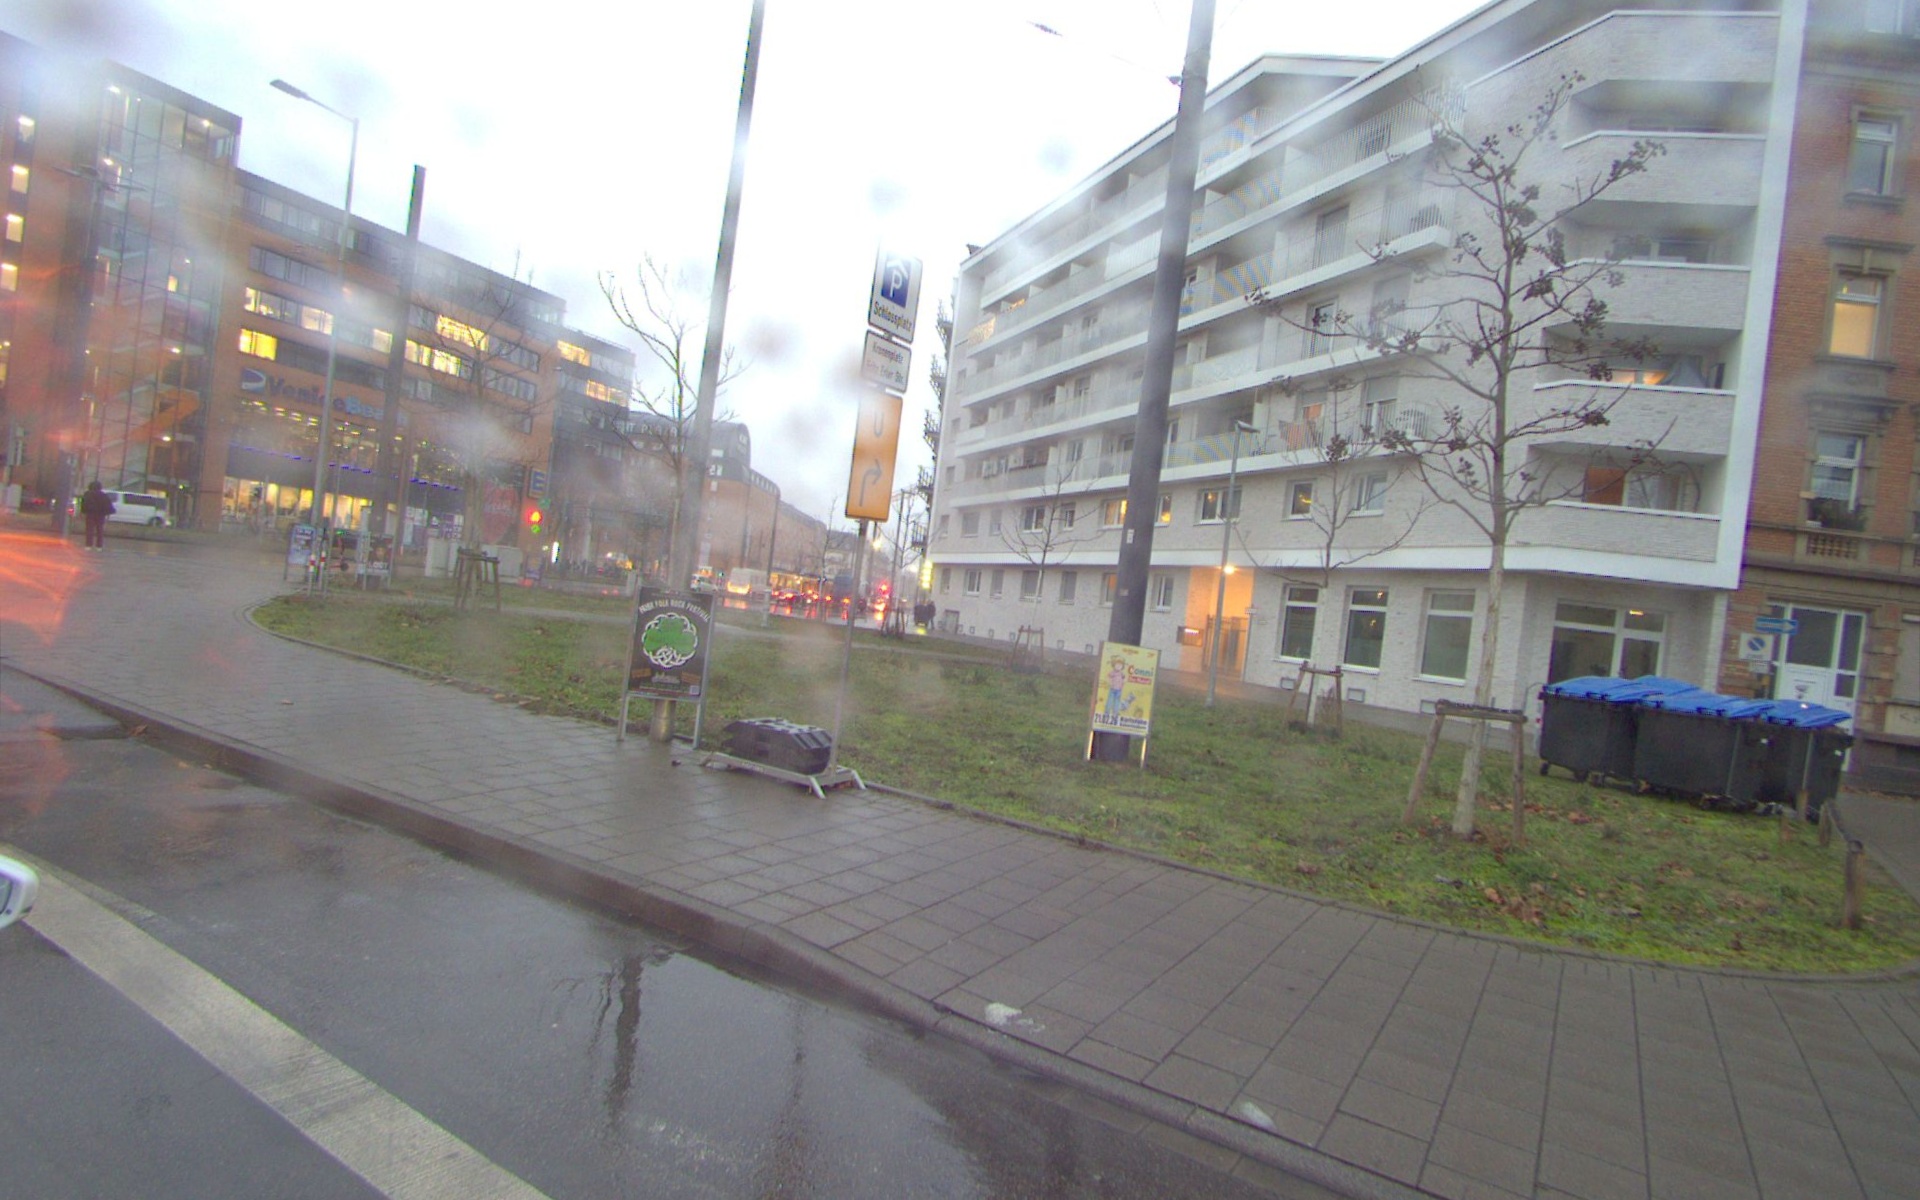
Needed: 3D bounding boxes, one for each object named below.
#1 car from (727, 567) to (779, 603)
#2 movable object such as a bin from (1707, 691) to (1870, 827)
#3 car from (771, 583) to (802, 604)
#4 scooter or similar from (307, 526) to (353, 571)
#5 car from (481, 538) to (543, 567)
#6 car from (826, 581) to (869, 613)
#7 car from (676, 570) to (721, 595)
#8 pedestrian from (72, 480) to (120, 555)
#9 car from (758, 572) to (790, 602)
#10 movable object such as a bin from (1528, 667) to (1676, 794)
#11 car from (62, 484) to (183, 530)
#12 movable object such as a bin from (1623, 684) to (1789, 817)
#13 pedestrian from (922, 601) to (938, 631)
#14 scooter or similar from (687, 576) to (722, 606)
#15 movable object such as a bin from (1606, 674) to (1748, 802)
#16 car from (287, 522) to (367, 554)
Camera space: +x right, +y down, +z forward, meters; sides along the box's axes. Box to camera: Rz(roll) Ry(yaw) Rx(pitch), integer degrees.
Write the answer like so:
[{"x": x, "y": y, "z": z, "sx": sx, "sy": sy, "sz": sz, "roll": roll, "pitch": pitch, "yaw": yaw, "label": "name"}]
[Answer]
[{"x": -17.384, "y": -1.201, "z": 84.682, "sx": 1.962, "sy": 2.456, "sz": 5.978, "roll": 7, "pitch": -1, "yaw": 10, "label": "car"}, {"x": 10.731, "y": 2.047, "z": 13.063, "sx": 1.038, "sy": 1.503, "sz": 1.135, "roll": 7, "pitch": 0, "yaw": -19, "label": "movable object such as a bin"}, {"x": -15.766, "y": -0.609, "z": 91.334, "sx": 1.494, "sy": 1.538, "sz": 3.474, "roll": 7, "pitch": -1, "yaw": 11, "label": "car"}, {"x": -18.677, "y": -1.513, "z": 29.836, "sx": 0.327, "sy": 1.221, "sz": 1.309, "roll": 7, "pitch": 0, "yaw": 4, "label": "scooter or similar"}, {"x": -36.369, "y": -3.861, "z": 81.769, "sx": 1.893, "sy": 1.740, "sz": 4.612, "roll": 7, "pitch": -1, "yaw": 17, "label": "car"}, {"x": -11.998, "y": -0.252, "z": 107.798, "sx": 2.317, "sy": 2.860, "sz": 6.364, "roll": 7, "pitch": -1, "yaw": 12, "label": "car"}, {"x": -19.813, "y": -1.333, "z": 76.331, "sx": 1.613, "sy": 1.514, "sz": 3.686, "roll": 7, "pitch": 0, "yaw": 14, "label": "car"}, {"x": -23.306, "y": -2.224, "z": 27.143, "sx": 0.768, "sy": 1.901, "sz": 0.629, "roll": 6, "pitch": 1, "yaw": -36, "label": "pedestrian"}, {"x": -19.879, "y": -1.341, "z": 107.747, "sx": 2.321, "sy": 2.861, "sz": 6.355, "roll": 7, "pitch": -1, "yaw": -5, "label": "car"}, {"x": 9.032, "y": 1.813, "z": 14.195, "sx": 1.038, "sy": 1.529, "sz": 1.247, "roll": 7, "pitch": 0, "yaw": -19, "label": "movable object such as a bin"}, {"x": -45.330, "y": -4.989, "z": 54.577, "sx": 1.754, "sy": 1.698, "sz": 4.651, "roll": 7, "pitch": -1, "yaw": 22, "label": "car"}, {"x": 9.602, "y": 1.919, "z": 12.989, "sx": 1.038, "sy": 1.450, "sz": 1.220, "roll": 7, "pitch": 0, "yaw": -19, "label": "movable object such as a bin"}, {"x": -1.709, "y": 0.921, "z": 57.389, "sx": 0.620, "sy": 1.652, "sz": 0.722, "roll": 7, "pitch": 1, "yaw": 6, "label": "pedestrian"}, {"x": -12.358, "y": -0.444, "z": 48.728, "sx": 0.658, "sy": 1.241, "sz": 1.556, "roll": 7, "pitch": -2, "yaw": 26, "label": "scooter or similar"}, {"x": 10.343, "y": 1.975, "z": 14.548, "sx": 1.038, "sy": 1.595, "sz": 1.135, "roll": 7, "pitch": 0, "yaw": -19, "label": "movable object such as a bin"}, {"x": -41.408, "y": -4.037, "z": 65.899, "sx": 1.598, "sy": 1.462, "sz": 4.426, "roll": 7, "pitch": -1, "yaw": 14, "label": "car"}]
